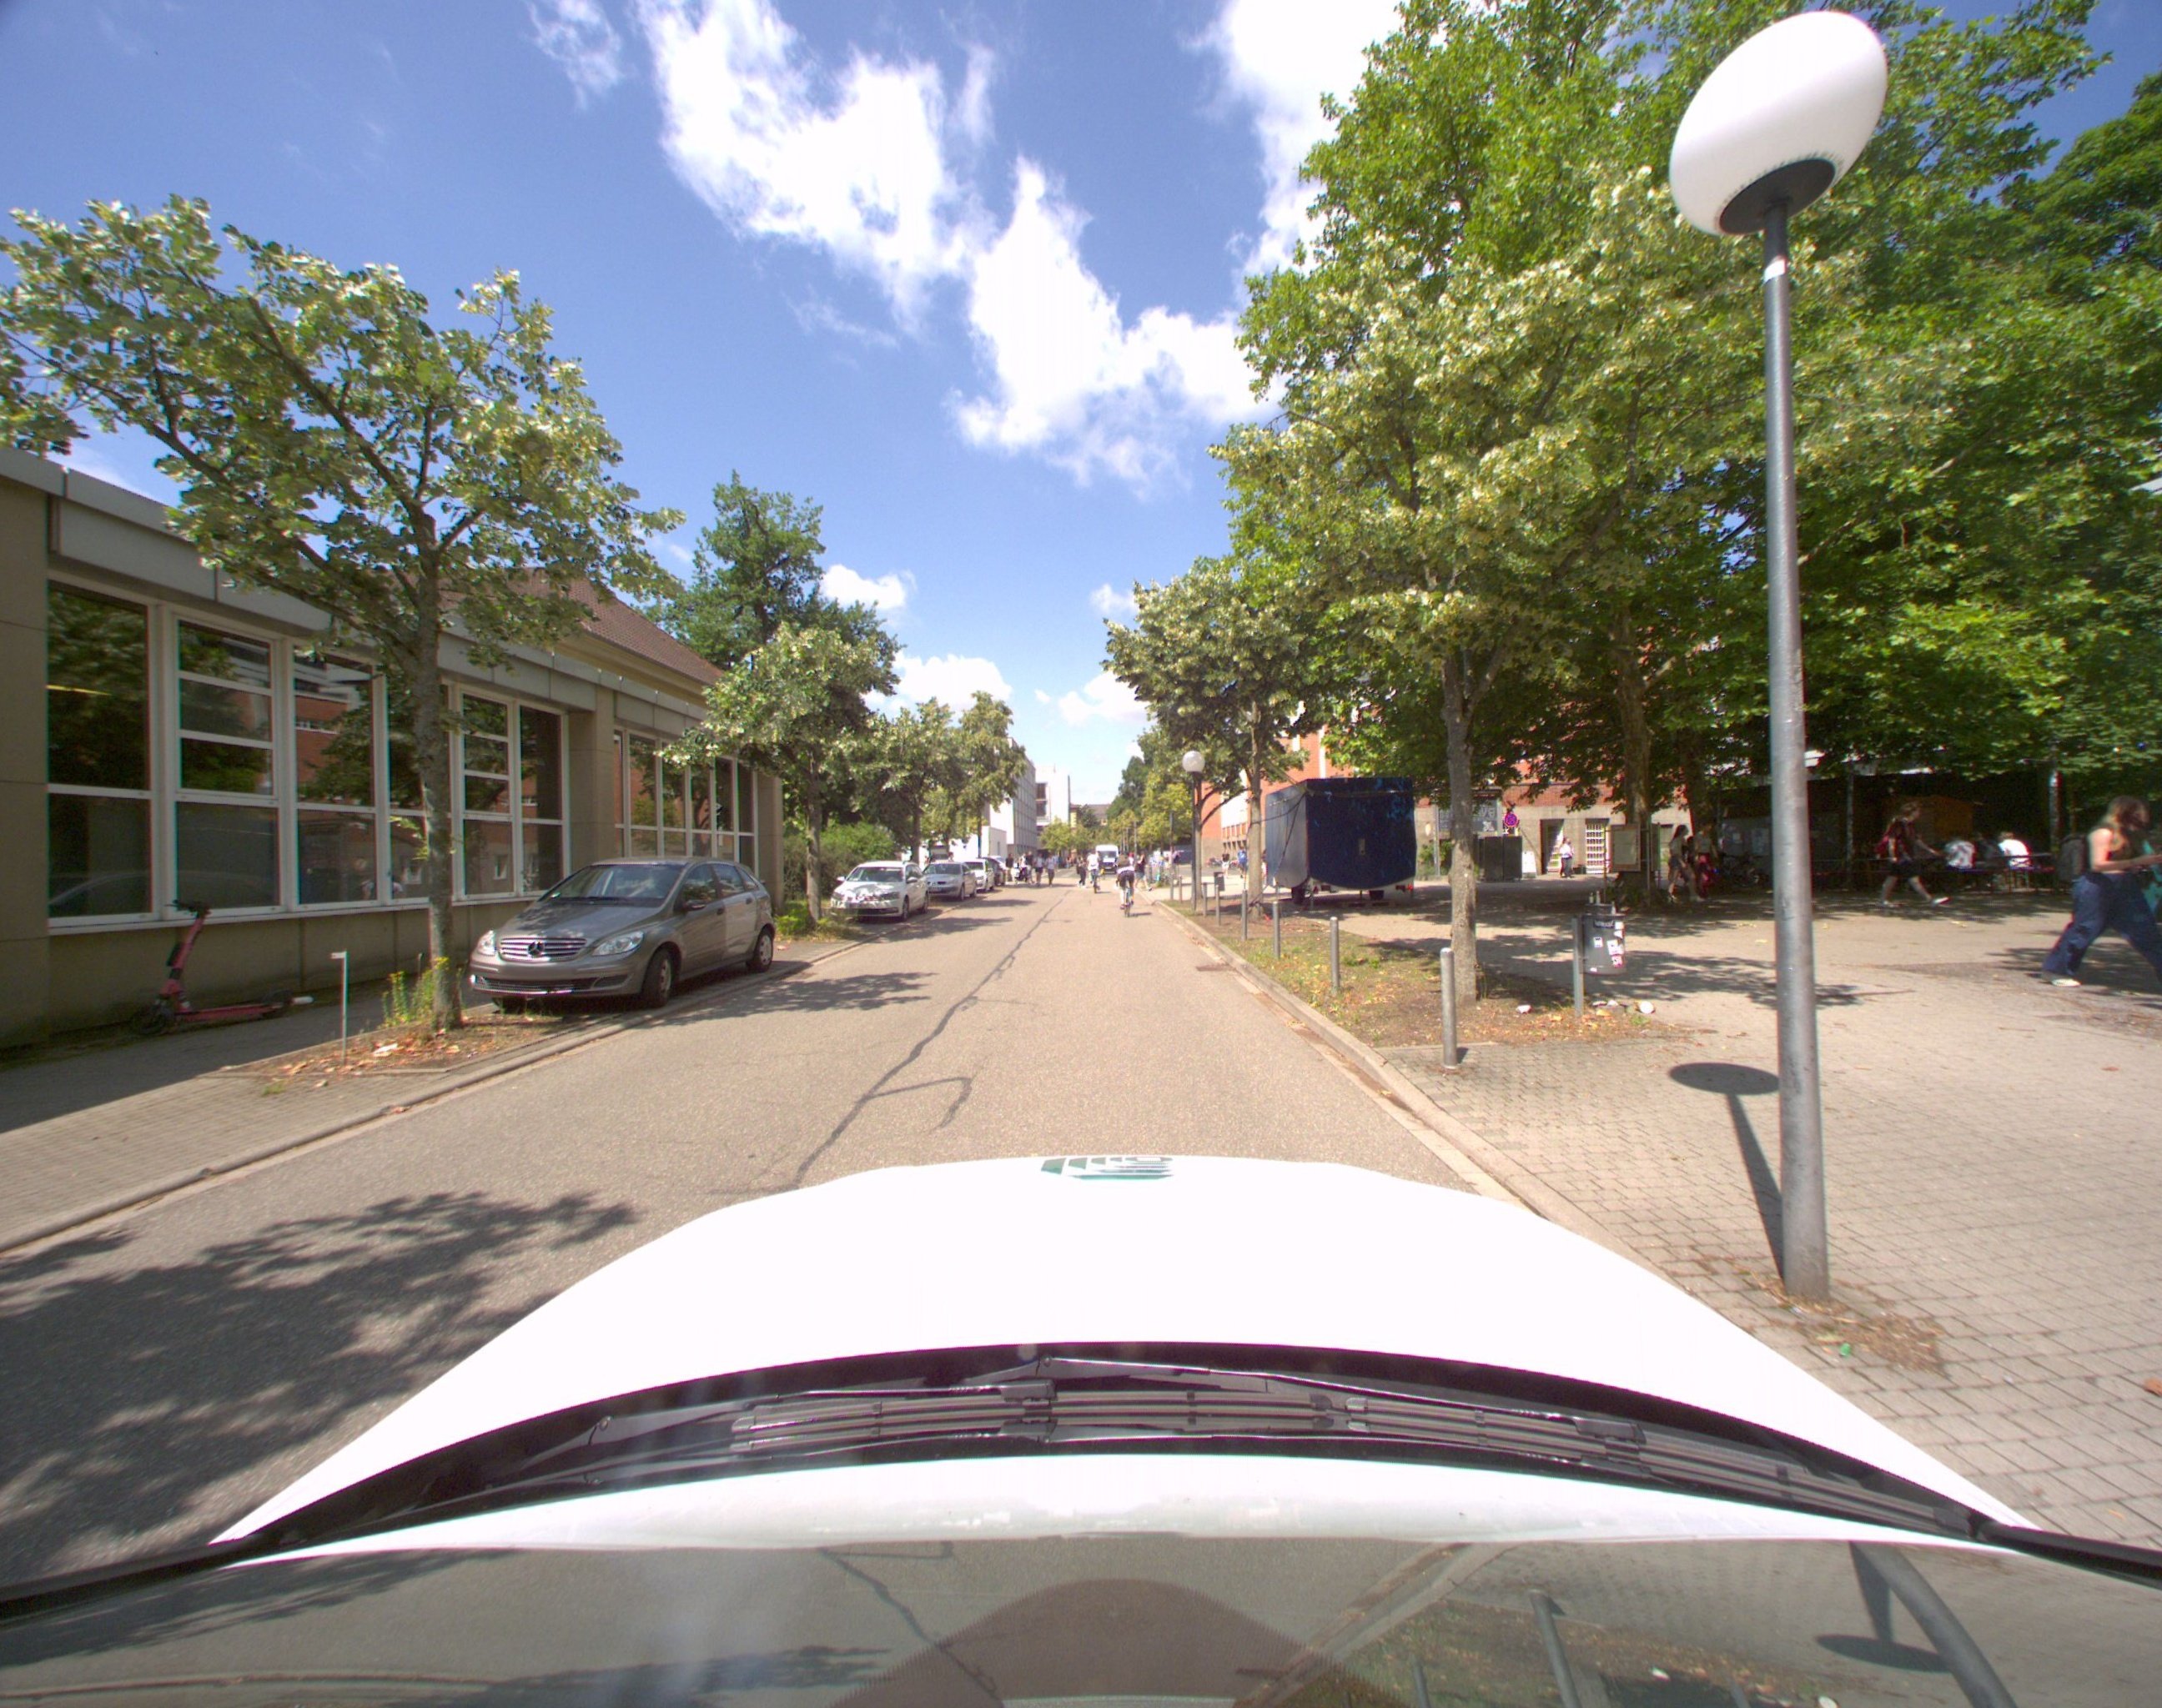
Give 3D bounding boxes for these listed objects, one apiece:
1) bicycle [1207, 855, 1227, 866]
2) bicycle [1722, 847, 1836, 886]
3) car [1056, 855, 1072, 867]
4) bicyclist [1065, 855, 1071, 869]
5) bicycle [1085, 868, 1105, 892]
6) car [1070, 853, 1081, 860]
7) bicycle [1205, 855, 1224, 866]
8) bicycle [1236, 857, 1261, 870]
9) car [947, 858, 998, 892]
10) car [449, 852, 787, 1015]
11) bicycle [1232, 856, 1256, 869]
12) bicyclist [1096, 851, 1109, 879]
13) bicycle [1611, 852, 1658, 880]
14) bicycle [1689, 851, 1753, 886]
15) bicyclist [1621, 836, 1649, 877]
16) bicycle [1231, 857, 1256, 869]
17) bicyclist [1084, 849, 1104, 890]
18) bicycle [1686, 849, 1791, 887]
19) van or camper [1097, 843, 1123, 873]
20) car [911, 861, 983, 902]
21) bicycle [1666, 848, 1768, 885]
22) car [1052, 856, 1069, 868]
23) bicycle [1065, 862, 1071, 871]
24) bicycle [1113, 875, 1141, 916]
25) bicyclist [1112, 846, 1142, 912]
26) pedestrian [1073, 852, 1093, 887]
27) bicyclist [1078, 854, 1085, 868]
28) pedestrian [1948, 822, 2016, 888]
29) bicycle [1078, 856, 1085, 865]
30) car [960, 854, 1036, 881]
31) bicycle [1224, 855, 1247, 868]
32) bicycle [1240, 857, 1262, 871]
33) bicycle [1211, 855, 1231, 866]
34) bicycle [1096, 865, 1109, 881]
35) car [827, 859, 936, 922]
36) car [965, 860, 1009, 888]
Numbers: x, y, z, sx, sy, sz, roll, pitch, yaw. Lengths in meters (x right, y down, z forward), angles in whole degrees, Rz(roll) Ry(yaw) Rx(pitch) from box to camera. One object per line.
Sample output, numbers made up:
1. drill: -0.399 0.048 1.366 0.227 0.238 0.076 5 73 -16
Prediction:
1. bicycle: 13.426 0.664 80.270 1.803 0.985 0.560 -3 0 0
2. bicycle: 20.026 0.362 23.411 2.380 1.072 0.786 0 -1 13
3. car: -2.346 0.977 114.806 1.787 1.530 4.006 -2 0 5
4. bicyclist: -1.585 0.991 97.692 0.641 1.601 0.909 -2 0 -1
5. bicycle: 0.594 1.113 35.256 0.805 1.002 2.123 -3 -2 1
6. car: -1.169 0.567 174.007 1.787 1.530 4.006 -2 0 5
7. bicycle: 13.550 0.658 82.606 1.803 0.985 0.560 -3 0 0
8. bicycle: 13.104 0.715 63.644 1.803 0.912 0.560 -3 0 0
9. car: -4.697 0.890 35.796 1.656 1.412 3.808 0 0 1
10. car: -5.215 0.783 9.935 1.752 1.556 4.112 1 0 -1
11. bicycle: 13.533 0.683 67.667 1.803 0.985 0.560 -3 0 0
12. bicyclist: 1.406 0.711 52.564 0.805 1.756 0.693 -1 -1 2
13. bicycle: 21.621 0.459 31.810 2.031 1.080 0.616 -1 0 -27
14. bicycle: 21.300 0.466 27.144 0.571 1.140 2.027 -1 0 1
15. bicyclist: 21.636 0.101 31.813 0.660 1.607 0.616 -1 0 -27
16. bicycle: 13.145 0.716 65.904 1.803 0.912 0.560 -3 0 0
17. bicyclist: 0.571 0.657 35.353 0.768 1.756 0.848 -2 0 0
18. bicycle: 19.796 0.410 24.570 2.383 1.072 0.785 -2 -1 8
19. van or camper: 2.507 0.388 70.385 1.984 2.446 4.574 -2 -1 4
20. car: -4.809 0.939 29.722 1.718 1.344 4.168 1 0 3
21. bicycle: 19.854 0.394 25.493 2.379 1.072 0.786 -2 -1 14
22. car: -2.683 1.081 107.394 1.787 1.530 4.006 -2 0 5
23. bicycle: -1.570 1.474 97.841 0.675 0.965 2.002 -2 0 -1
24. bicycle: 1.195 1.059 21.228 0.703 0.993 1.912 0 -1 3
25. bicyclist: 1.194 0.648 21.283 0.714 1.662 1.096 -1 -1 3
26. pedestrian: 0.088 0.753 40.969 0.703 1.720 0.988 1 0 -16
27. bicyclist: 0.061 0.880 98.610 0.665 1.681 0.993 -2 0 1
28. pedestrian: 19.164 0.015 17.331 0.568 1.346 0.728 -4 0 -3
29. bicycle: 0.055 0.839 98.534 0.674 0.965 2.003 1 -4 2
30. car: -5.253 0.851 51.453 4.462 1.619 1.936 1 -1 32
31. bicycle: 13.227 0.657 69.629 1.803 0.985 0.560 -3 0 0
32. bicycle: 12.868 0.757 61.713 1.529 1.033 0.560 -2 0 0
33. bicycle: 13.496 0.661 78.734 1.803 0.985 0.560 -3 0 0
34. bicycle: 1.411 1.203 52.519 0.805 1.002 2.125 -1 -1 2
35. car: -5.036 0.861 21.180 1.720 1.456 4.582 1 0 0
36. car: -4.798 0.988 42.002 1.638 1.300 3.930 -2 0 2
